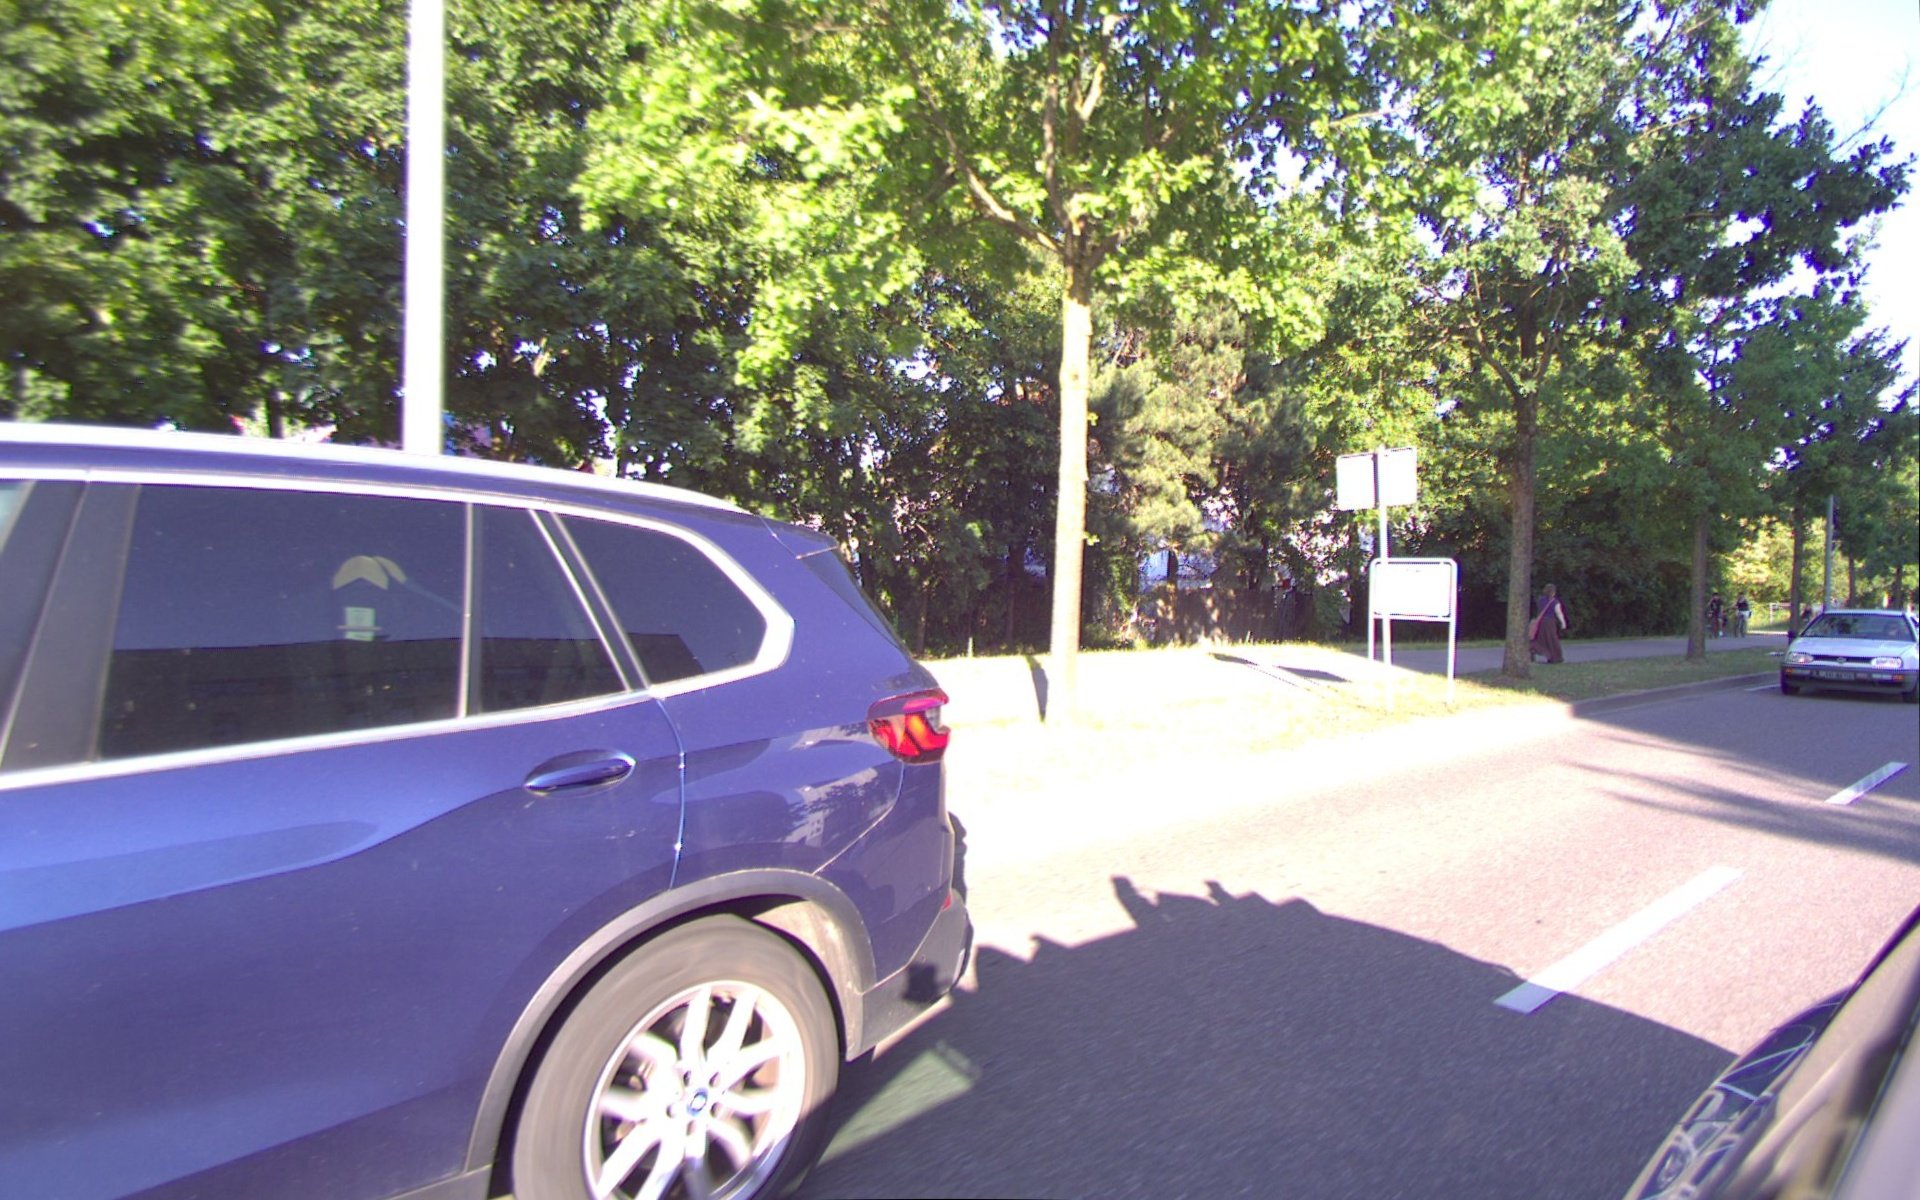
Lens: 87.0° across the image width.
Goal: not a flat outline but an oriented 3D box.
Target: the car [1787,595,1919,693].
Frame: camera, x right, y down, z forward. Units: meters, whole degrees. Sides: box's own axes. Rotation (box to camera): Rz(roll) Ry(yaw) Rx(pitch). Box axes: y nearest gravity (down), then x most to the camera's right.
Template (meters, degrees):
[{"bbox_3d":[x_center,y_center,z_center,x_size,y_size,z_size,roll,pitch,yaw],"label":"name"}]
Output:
[{"bbox_3d":[15.120,0.678,16.608,3.964,1.416,1.615,2,0,-39],"label":"car"}]

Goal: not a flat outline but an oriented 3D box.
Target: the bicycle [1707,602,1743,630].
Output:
[{"bbox_3d":[28.025,0.590,37.082,1.789,0.986,0.618,0,1,-39],"label":"bicycle"}]

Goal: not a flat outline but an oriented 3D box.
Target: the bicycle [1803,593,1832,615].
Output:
[{"bbox_3d":[39.396,0.184,46.494,2.021,0.986,0.618,0,1,-39],"label":"bicycle"}]

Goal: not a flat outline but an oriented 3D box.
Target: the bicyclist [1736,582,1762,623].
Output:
[{"bbox_3d":[31.413,0.089,40.272,0.832,1.598,0.605,1,1,-38],"label":"bicyclist"}]

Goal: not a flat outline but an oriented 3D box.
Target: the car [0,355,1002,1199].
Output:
[{"bbox_3d":[-2.264,0.522,1.925,4.617,1.748,1.958,-1,1,-41],"label":"car"}]

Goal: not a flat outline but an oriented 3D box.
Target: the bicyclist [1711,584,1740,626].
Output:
[{"bbox_3d":[28.052,0.192,37.091,0.832,1.520,0.614,1,1,-38],"label":"bicyclist"}]

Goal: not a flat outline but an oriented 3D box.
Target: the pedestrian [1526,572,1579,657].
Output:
[{"bbox_3d":[11.644,0.267,19.898,0.670,1.593,0.897,4,2,42],"label":"pedestrian"}]

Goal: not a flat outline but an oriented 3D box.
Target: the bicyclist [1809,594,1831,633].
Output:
[{"bbox_3d":[39.750,0.611,46.782,0.832,1.755,0.605,1,1,-38],"label":"bicyclist"}]

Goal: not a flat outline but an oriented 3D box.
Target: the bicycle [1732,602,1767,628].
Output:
[{"bbox_3d":[31.460,0.594,40.310,2.021,0.986,0.618,0,1,-39],"label":"bicycle"}]
